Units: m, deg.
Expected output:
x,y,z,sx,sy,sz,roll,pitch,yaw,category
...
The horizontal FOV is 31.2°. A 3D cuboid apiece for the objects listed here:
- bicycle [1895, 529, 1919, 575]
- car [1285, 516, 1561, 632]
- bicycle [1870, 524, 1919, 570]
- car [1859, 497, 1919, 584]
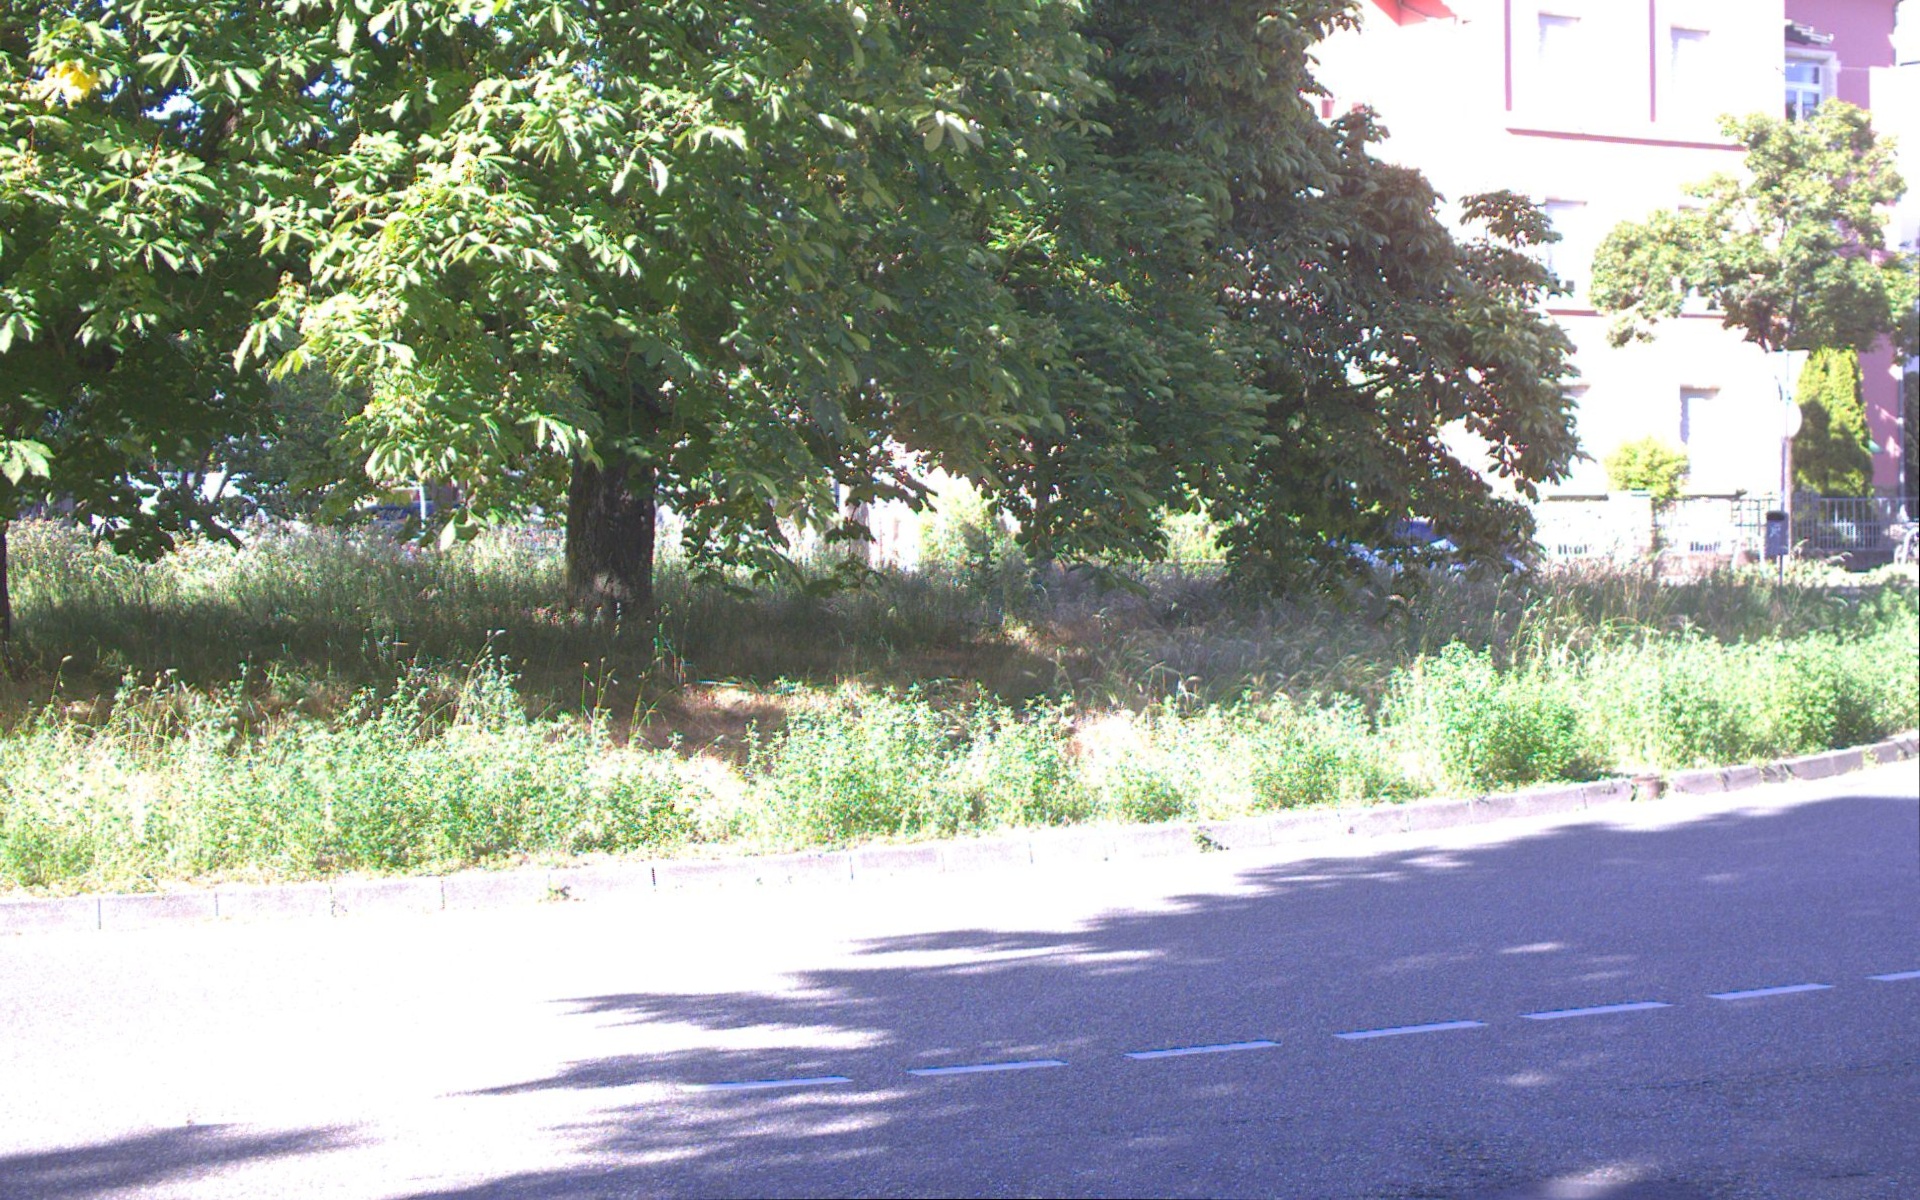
x,y,z,sx,sy,sz,roll,pitch,yaw,category
17.348,-0.846,60.917,0.477,0.797,2.287,-1,2,-13,bicycle
6.489,-0.381,48.384,3.644,1.546,1.556,1,2,45,car
16.797,-0.931,60.510,0.477,0.797,2.029,-1,2,-18,bicycle
16.471,-1.000,55.758,3.633,1.364,1.759,-2,2,-37,car
